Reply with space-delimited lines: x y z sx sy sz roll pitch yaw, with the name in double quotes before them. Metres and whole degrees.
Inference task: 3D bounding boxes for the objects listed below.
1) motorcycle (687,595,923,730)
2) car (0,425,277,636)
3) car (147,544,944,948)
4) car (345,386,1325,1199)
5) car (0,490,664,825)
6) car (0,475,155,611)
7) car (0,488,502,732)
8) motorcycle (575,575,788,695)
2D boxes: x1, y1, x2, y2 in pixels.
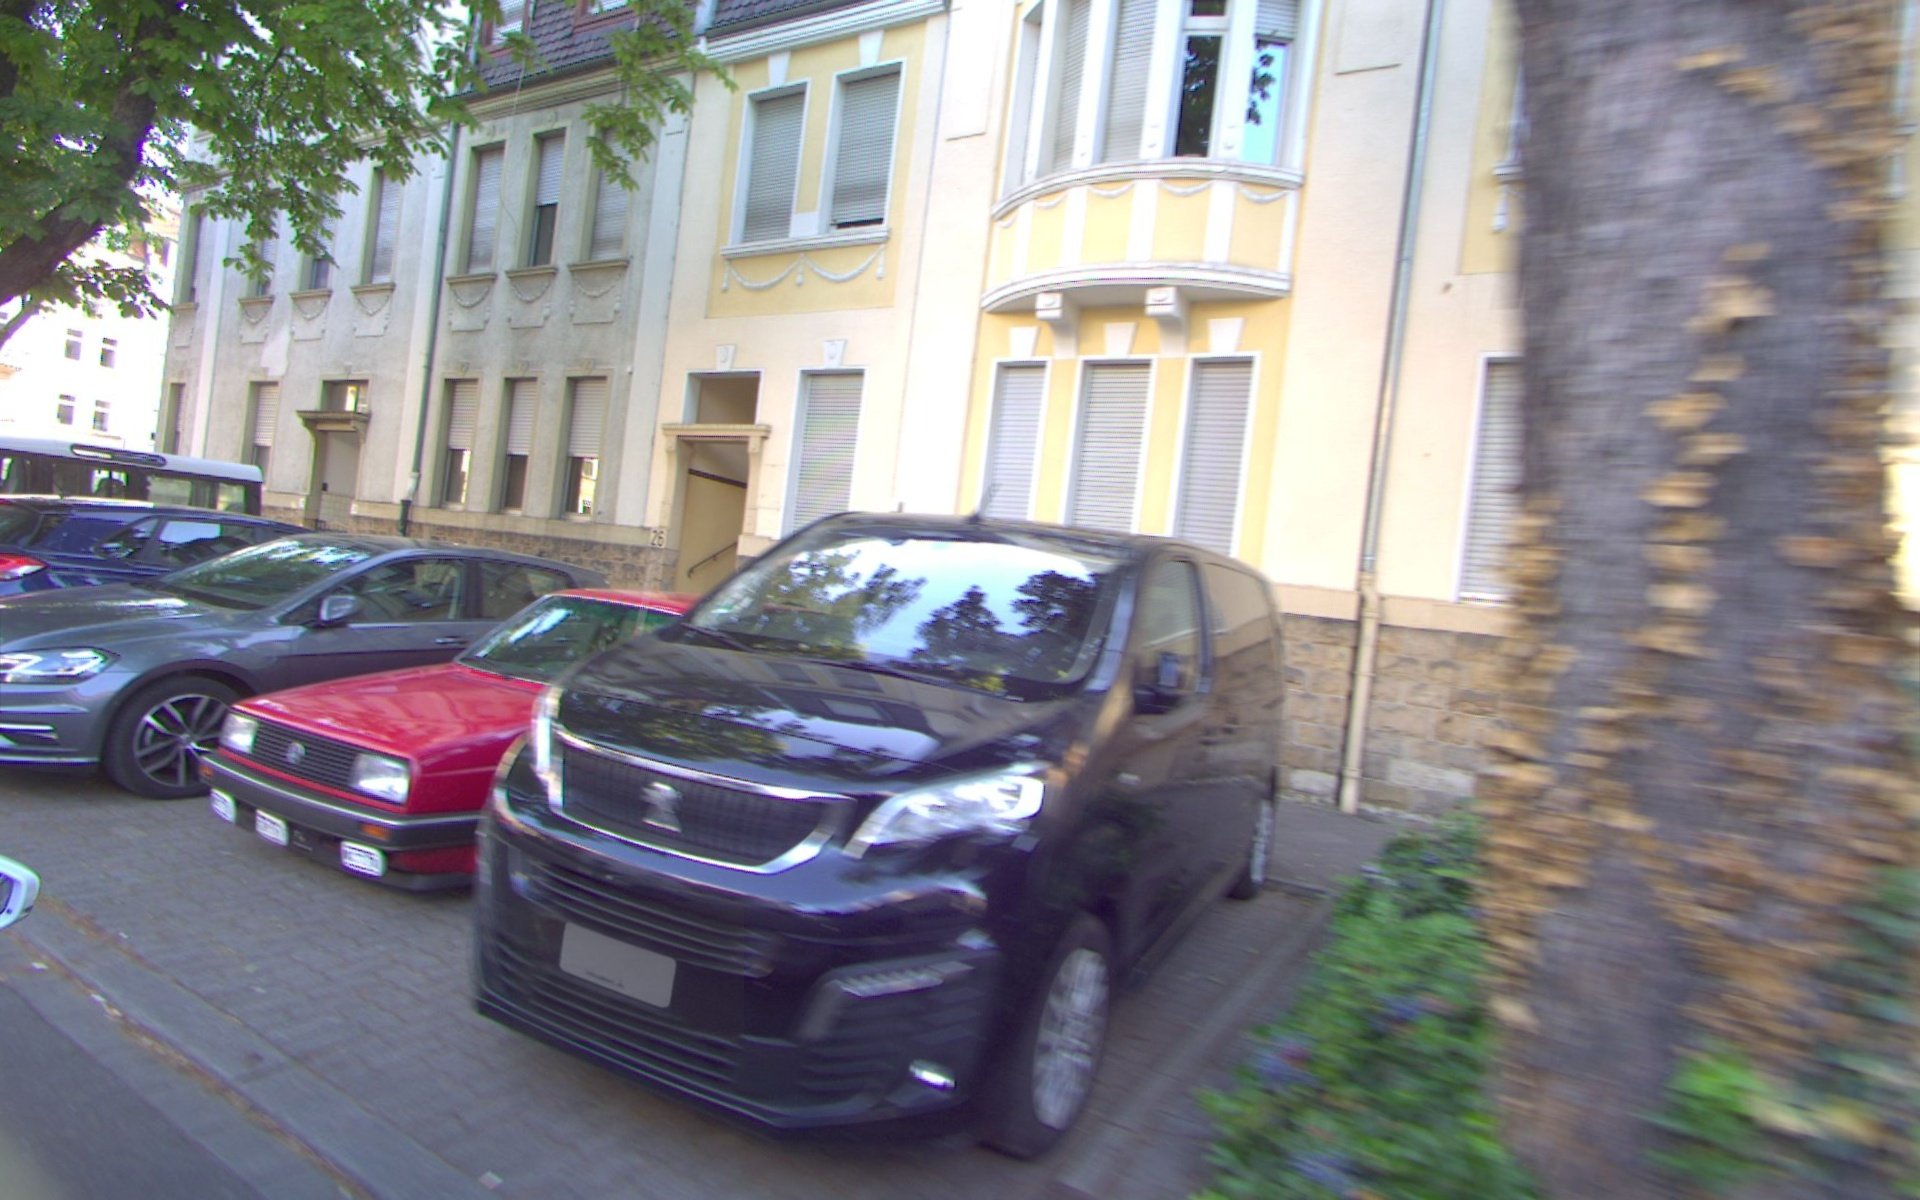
"motorcycle" -1.731 0.642 11.034 2.439 1.087 0.959 8 2 32
"car" -10.284 -0.793 10.825 1.671 2.061 4.473 7 0 28
"car" -1.813 0.620 5.821 1.601 1.332 4.144 7 0 27
"car" 0.261 0.579 4.498 1.864 1.898 4.759 7 0 27
"car" -4.059 0.280 6.450 1.693 1.470 4.060 7 0 28
"car" -12.671 -0.839 12.502 1.679 1.589 3.730 7 0 28
"car" -5.788 0.070 7.808 1.679 1.470 3.730 7 0 28
"motorcycle" -3.482 0.398 12.411 2.821 1.087 0.694 7 3 31
